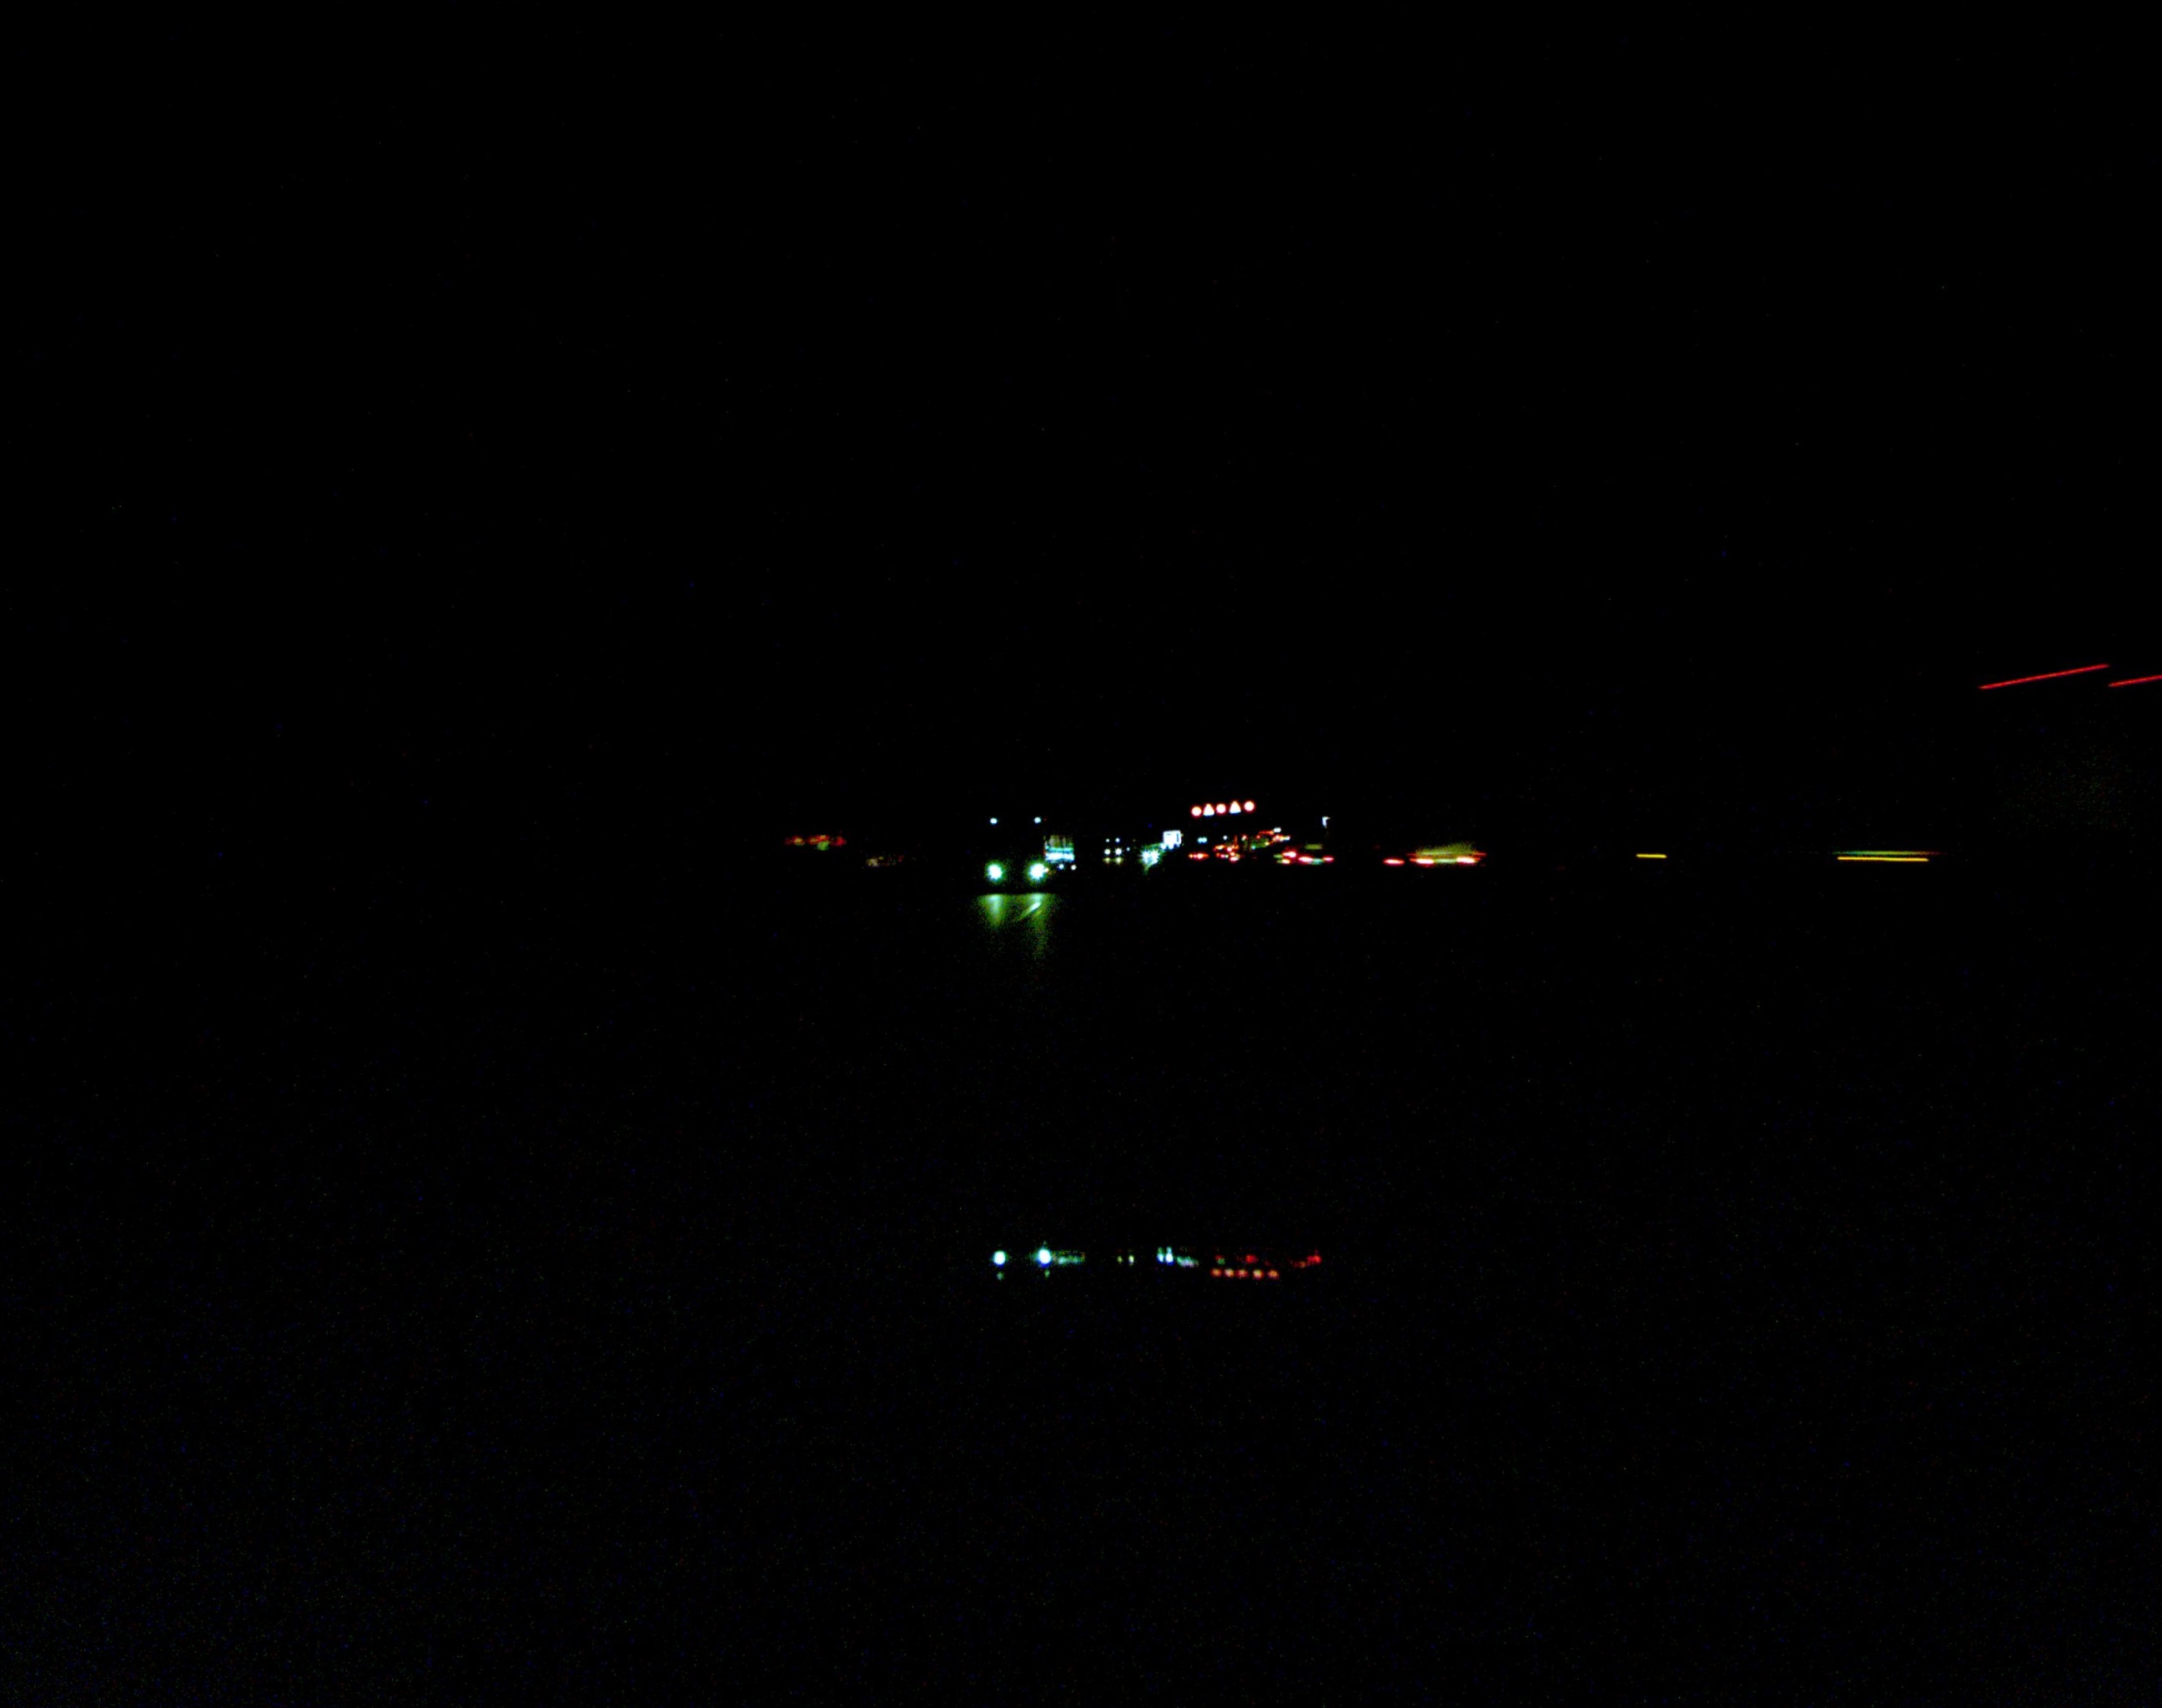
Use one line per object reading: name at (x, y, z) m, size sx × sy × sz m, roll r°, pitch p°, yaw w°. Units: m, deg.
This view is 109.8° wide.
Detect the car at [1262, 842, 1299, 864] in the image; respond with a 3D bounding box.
car at (14.547, -0.092, 55.772) m, size 1.907 × 1.483 × 4.939 m, roll -2°, pitch 1°, yaw 7°

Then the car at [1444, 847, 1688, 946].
car at (8.611, 0.641, 14.119) m, size 1.629 × 1.483 × 4.868 m, roll -2°, pitch 0°, yaw 3°

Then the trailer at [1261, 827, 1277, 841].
trailer at (59.041, -6.323, 238.417) m, size 3.439 × 4.218 × 12.846 m, roll -1°, pitch 3°, yaw 21°

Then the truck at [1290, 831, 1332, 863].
truck at (18.796, -0.591, 62.318) m, size 1.998 × 2.444 × 5.050 m, roll -2°, pitch 1°, yaw 2°

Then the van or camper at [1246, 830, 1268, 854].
van or camper at (23.349, -1.610, 100.986) m, size 2.226 × 2.986 × 7.127 m, roll -2°, pitch 1°, yaw 8°

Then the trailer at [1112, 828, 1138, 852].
trailer at (8.656, -2.749, 147.552) m, size 2.879 × 3.910 × 12.892 m, roll -3°, pitch 3°, yaw 13°

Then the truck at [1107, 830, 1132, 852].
truck at (7.209, -2.352, 141.064) m, size 2.871 × 3.817 × 8.062 m, roll -3°, pitch 0°, yaw 14°

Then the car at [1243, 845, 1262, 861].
car at (16.356, -0.106, 72.553) m, size 1.702 × 1.455 × 3.484 m, roll -2°, pitch 1°, yaw 11°

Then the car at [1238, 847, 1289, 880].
car at (9.235, 0.424, 38.766) m, size 1.907 × 1.483 × 4.869 m, roll -2°, pitch 1°, yaw 7°

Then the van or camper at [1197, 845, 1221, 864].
van or camper at (11.079, 0.001, 66.046) m, size 1.742 × 1.457 × 4.869 m, roll -2°, pitch 1°, yaw 7°

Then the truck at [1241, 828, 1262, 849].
truck at (26.933, -2.488, 120.212) m, size 2.380 × 3.242 × 7.724 m, roll -1°, pitch 2°, yaw 7°

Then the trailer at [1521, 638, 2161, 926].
trailer at (16.533, -1.189, 19.048) m, size 2.846 × 4.439 × 14.522 m, roll -1°, pitch 1°, yaw 1°

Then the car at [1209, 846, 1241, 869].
car at (10.030, 0.204, 53.229) m, size 1.907 × 1.483 × 4.869 m, roll -2°, pitch 1°, yaw 8°

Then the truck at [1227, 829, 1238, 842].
truck at (44.501, -5.460, 222.464) m, size 2.659 × 3.571 × 8.555 m, roll -3°, pitch 2°, yaw 14°

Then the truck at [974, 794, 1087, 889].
truck at (-2.166, -0.608, 42.851) m, size 3.490 × 4.110 × 18.714 m, roll -2°, pitch 0°, yaw 5°

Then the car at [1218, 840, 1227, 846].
car at (35.969, -2.827, 192.983) m, size 1.836 × 1.443 × 4.509 m, roll -2°, pitch 0°, yaw 14°

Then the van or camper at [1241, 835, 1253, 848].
van or camper at (36.519, -2.745, 166.972) m, size 2.449 × 2.746 × 6.492 m, roll -2°, pitch 2°, yaw 12°

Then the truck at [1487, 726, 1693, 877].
truck at (16.538, -1.562, 25.284) m, size 2.622 × 4.244 × 5.957 m, roll 4°, pitch 1°, yaw 1°

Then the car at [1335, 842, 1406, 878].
car at (13.732, 0.232, 36.429) m, size 1.907 × 1.483 × 5.261 m, roll -2°, pitch 1°, yaw 7°

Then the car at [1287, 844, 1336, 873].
car at (13.550, 0.221, 44.945) m, size 1.907 × 1.483 × 4.869 m, roll -2°, pitch 1°, yaw 7°

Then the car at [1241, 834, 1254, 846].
car at (30.649, -2.621, 139.951) m, size 2.134 × 2.255 × 4.566 m, roll -1°, pitch 1°, yaw 10°

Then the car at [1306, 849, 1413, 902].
car at (9.004, 0.620, 25.037) m, size 1.908 × 1.483 × 4.868 m, roll -2°, pitch 1°, yaw 3°

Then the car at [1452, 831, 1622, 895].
car at (12.277, 0.187, 20.895) m, size 1.908 × 1.483 × 4.868 m, roll -2°, pitch 1°, yaw 3°

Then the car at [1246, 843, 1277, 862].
car at (16.006, -0.159, 67.506) m, size 1.902 × 1.515 × 4.348 m, roll 0°, pitch 2°, yaw 2°

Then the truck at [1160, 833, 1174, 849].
truck at (21.742, -3.315, 191.521) m, size 2.898 × 3.950 × 4.002 m, roll -3°, pitch 2°, yaw 12°

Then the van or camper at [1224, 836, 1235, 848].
van or camper at (33.686, -2.758, 171.842) m, size 2.258 × 2.580 × 6.690 m, roll -1°, pitch 2°, yaw 12°

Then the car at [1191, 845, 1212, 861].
car at (12.579, -0.099, 79.469) m, size 1.907 × 1.483 × 4.869 m, roll -2°, pitch 1°, yaw 7°

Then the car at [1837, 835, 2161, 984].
car at (12.110, 0.551, 8.810) m, size 1.908 × 1.483 × 4.867 m, roll -2°, pitch 1°, yaw 1°

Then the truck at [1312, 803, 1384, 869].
truck at (18.060, -1.184, 51.789) m, size 2.871 × 4.186 × 6.106 m, roll -2°, pitch 1°, yaw 2°

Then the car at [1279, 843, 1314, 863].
car at (19.233, -0.133, 67.892) m, size 1.890 × 1.667 × 5.080 m, roll -2°, pitch 1°, yaw 3°

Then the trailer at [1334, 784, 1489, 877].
trailer at (17.618, -1.110, 42.210) m, size 2.882 × 4.159 × 14.525 m, roll -2°, pitch 0°, yaw 3°
